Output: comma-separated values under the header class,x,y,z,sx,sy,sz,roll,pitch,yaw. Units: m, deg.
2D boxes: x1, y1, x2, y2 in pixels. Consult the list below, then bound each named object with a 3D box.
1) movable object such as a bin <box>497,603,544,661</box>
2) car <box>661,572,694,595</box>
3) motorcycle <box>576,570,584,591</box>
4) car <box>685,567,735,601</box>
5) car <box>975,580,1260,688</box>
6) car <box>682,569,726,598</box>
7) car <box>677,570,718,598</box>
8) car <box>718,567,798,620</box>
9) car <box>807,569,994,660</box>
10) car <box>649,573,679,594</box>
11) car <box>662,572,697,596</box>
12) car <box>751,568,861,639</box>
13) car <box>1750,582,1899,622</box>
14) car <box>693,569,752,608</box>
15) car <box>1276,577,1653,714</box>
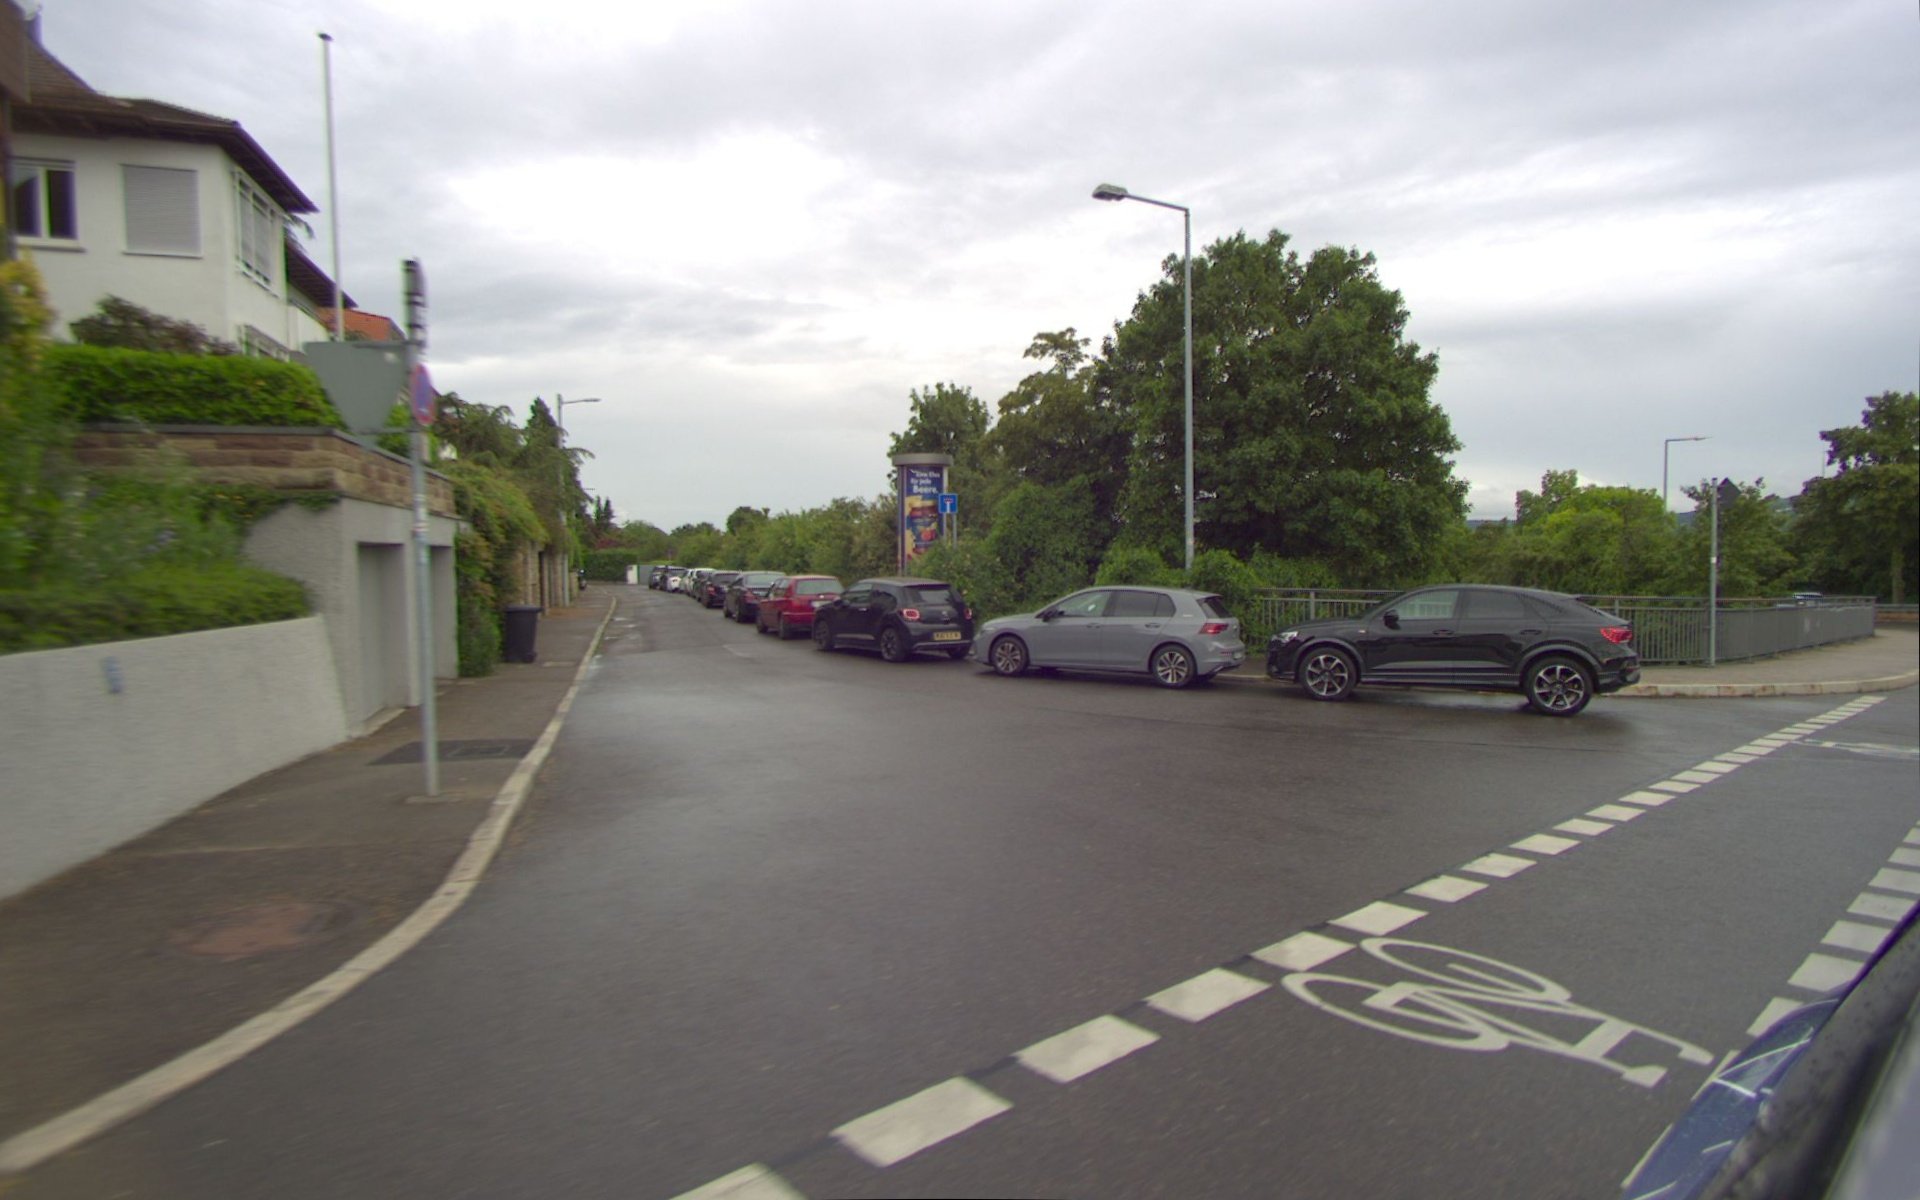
class,x,y,z,sx,sy,sz,roll,pitch,yaw
movable object such as a bin,-8.115,0.573,18.684,0.673,1.031,0.530,1,0,-41
car,-19.490,-1.156,69.670,1.727,1.507,3.609,0,1,-23
motorcycle,-26.420,-1.373,70.378,0.376,1.461,0.898,-1,0,-29
car,-11.779,-0.763,47.545,1.727,1.507,3.609,0,1,-23
car,2.405,0.434,15.623,4.019,1.443,1.784,1,2,29
car,-13.775,-0.885,54.350,1.727,1.507,3.609,0,1,-23
car,-15.125,-0.911,58.203,1.727,1.507,3.609,0,1,-23
car,-6.263,-0.255,31.074,1.727,1.507,3.610,-1,2,-23
car,-1.204,0.204,19.075,1.807,1.507,3.601,1,2,-37
car,-21.922,-1.211,74.980,1.727,1.507,3.609,0,1,-23
car,-17.810,-1.017,64.177,1.727,1.507,3.609,0,1,-23
car,-3.696,0.012,23.786,1.727,1.507,3.610,-1,2,-23
car,36.454,0.033,42.861,1.851,1.595,4.602,0,1,-12
car,-9.370,-0.435,39.772,1.722,1.472,4.008,0,0,-21
car,6.493,0.501,13.431,4.159,1.542,1.982,1,0,26
